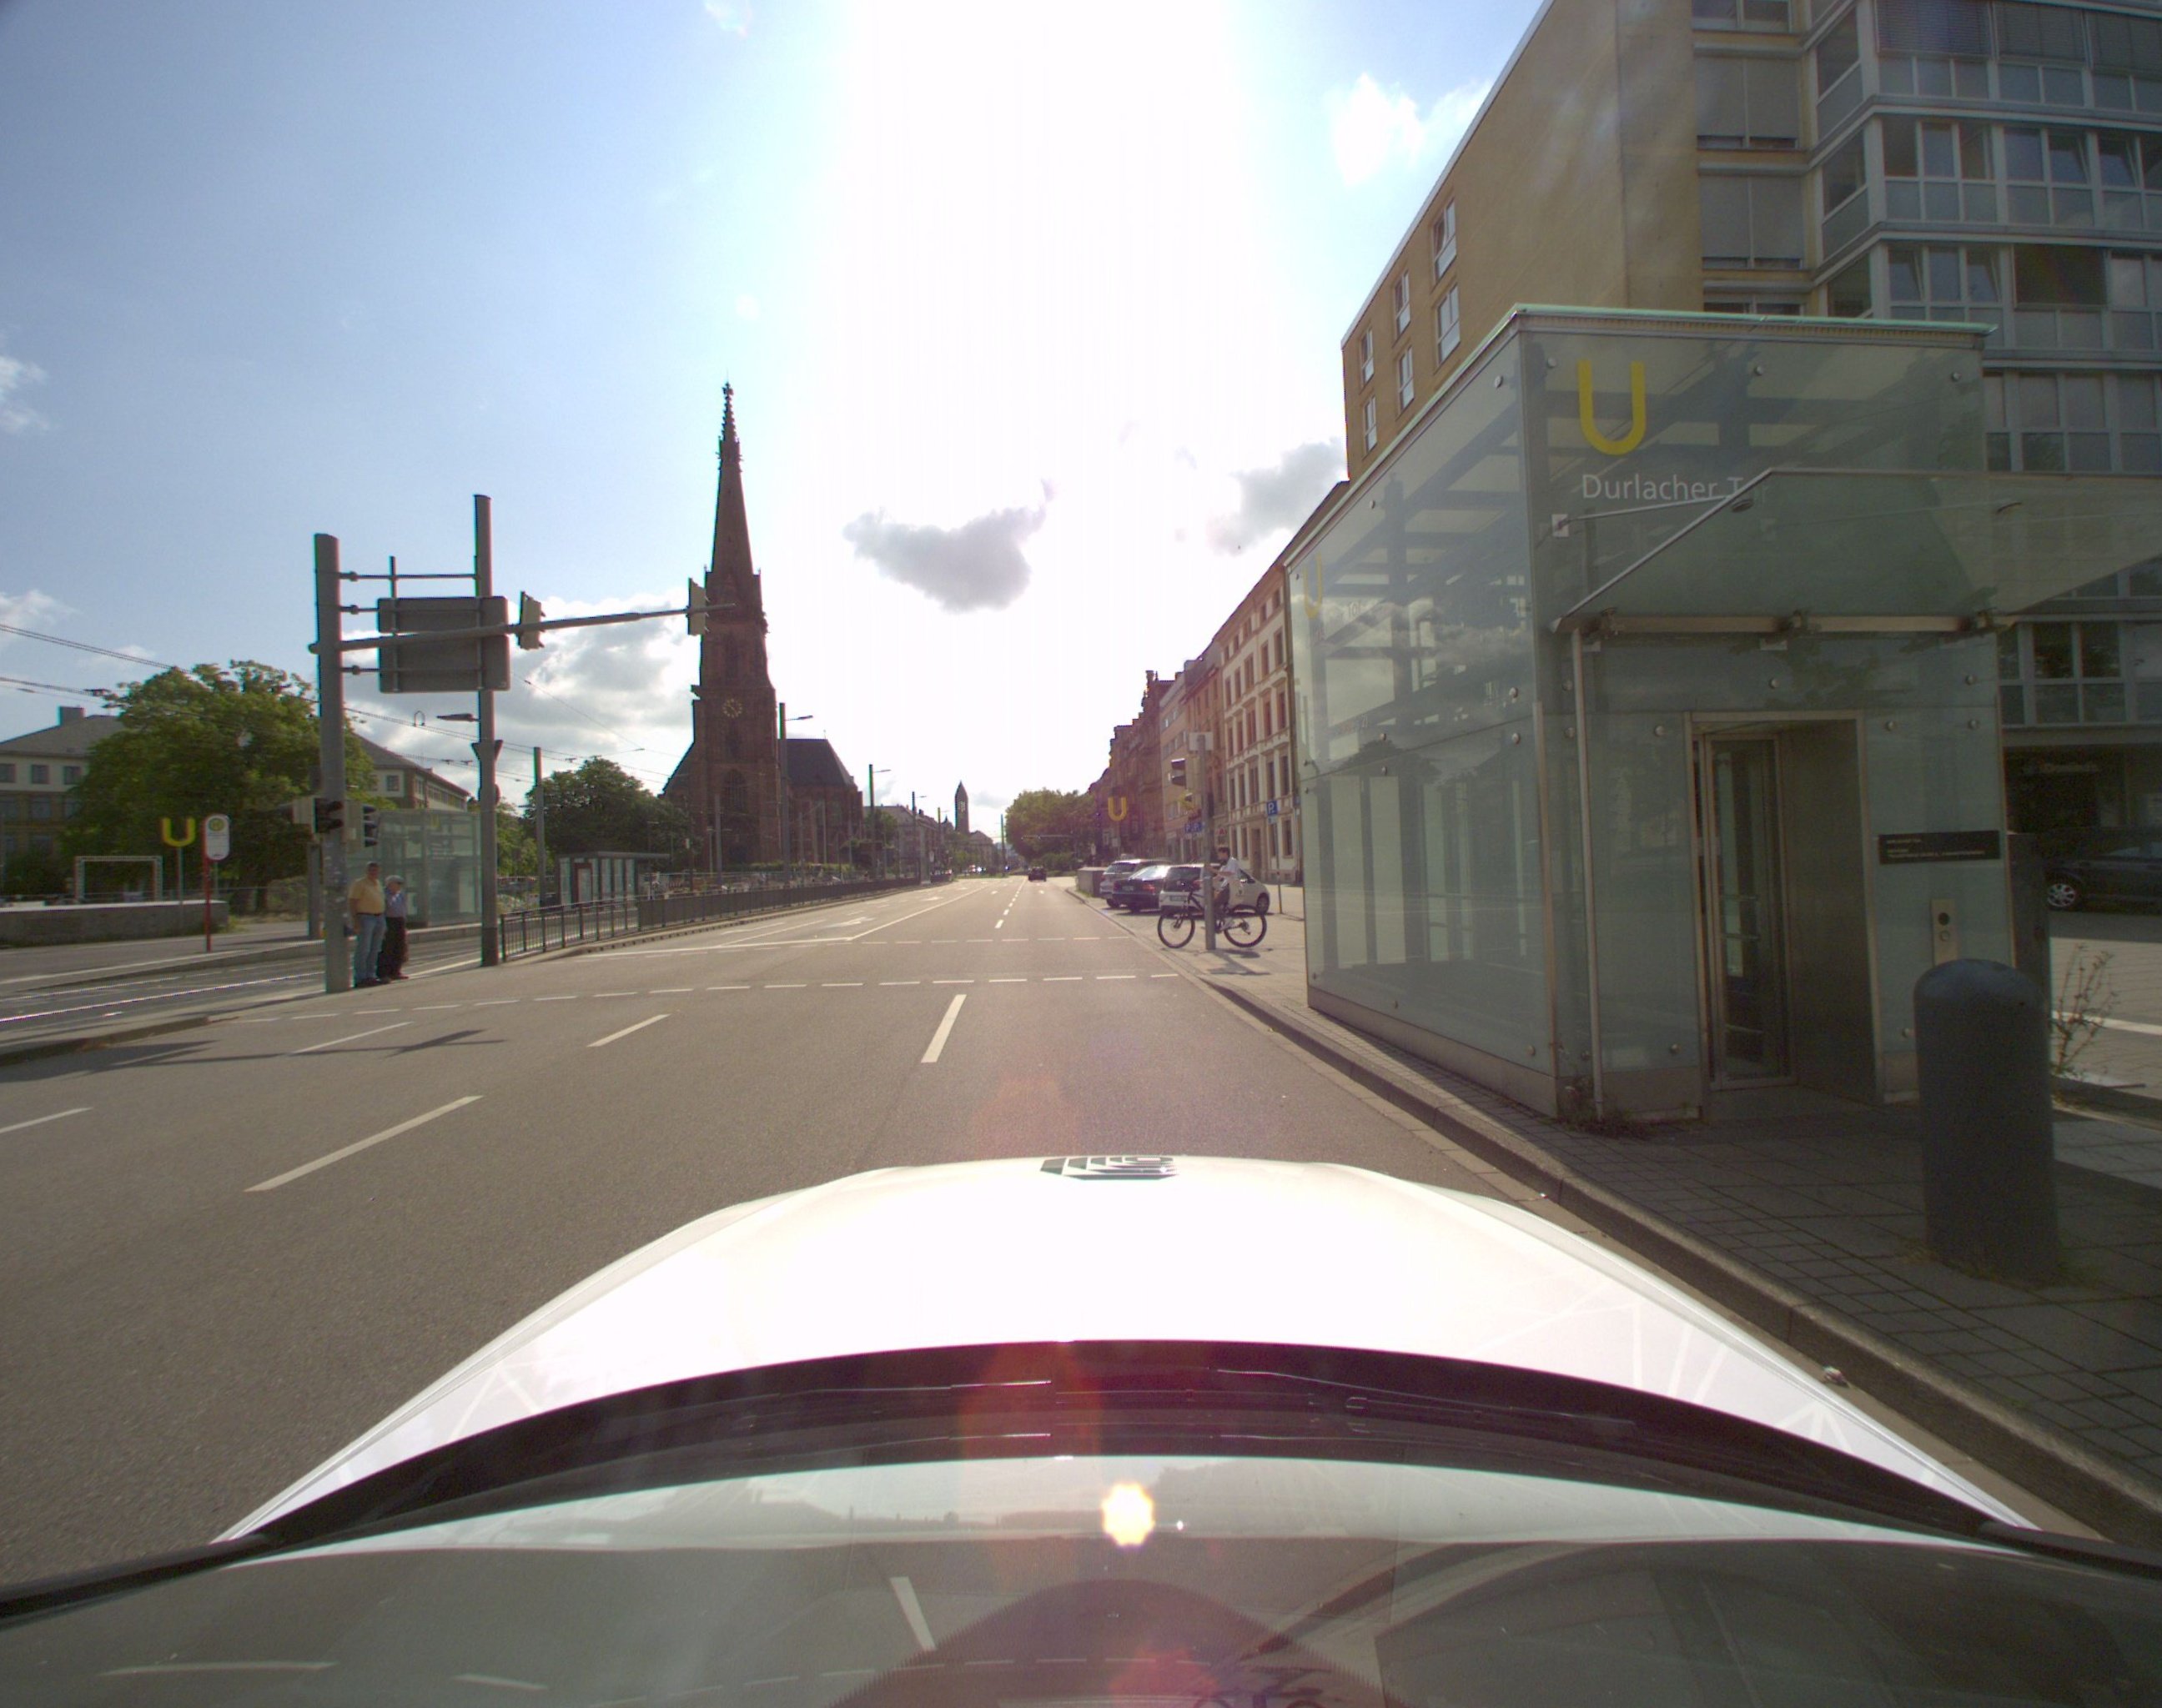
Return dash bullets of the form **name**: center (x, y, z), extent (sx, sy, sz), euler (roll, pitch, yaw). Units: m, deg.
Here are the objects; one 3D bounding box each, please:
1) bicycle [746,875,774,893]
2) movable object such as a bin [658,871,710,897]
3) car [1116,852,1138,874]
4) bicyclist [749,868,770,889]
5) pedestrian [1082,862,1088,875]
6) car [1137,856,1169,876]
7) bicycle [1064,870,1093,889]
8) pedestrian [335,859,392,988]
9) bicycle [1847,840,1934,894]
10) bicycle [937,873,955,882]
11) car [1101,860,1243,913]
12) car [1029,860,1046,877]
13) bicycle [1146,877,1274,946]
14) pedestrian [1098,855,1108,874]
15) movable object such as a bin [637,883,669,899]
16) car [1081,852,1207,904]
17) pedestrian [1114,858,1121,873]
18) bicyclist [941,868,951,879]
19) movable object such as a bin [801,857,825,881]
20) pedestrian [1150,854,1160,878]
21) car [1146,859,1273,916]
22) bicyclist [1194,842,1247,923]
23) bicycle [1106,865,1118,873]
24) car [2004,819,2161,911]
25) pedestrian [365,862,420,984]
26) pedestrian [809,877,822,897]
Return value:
- **bicycle**: center (-27.623, 2.550, 70.128), extent (1.191, 1.427, 3.686), euler (-2, -1, -5)
- **movable object such as a bin**: center (-47.352, 3.547, 97.260), extent (5.140, 2.911, 1.992), euler (-2, -1, -11)
- **car**: center (5.765, 1.138, 102.675), extent (1.989, 2.525, 5.880), euler (-2, -1, -4)
- **bicyclist**: center (-27.618, 2.111, 69.965), extent (1.176, 1.684, 1.681), euler (-2, -1, -6)
- **pedestrian**: center (0.611, 2.323, 131.135), extent (0.766, 2.014, 0.714), euler (-3, -1, -3)
- **car**: center (7.045, 1.204, 80.324), extent (1.993, 1.862, 4.737), euler (-2, -2, -9)
- **bicycle**: center (-0.170, 1.774, 56.706), extent (1.929, 1.237, 0.439), euler (-2, 1, -17)
- **pedestrian**: center (-11.531, 1.092, 13.094), extent (0.426, 2.014, 0.575), euler (-2, -1, -15)
- **bicycle**: center (17.968, 0.285, 18.090), extent (1.338, 1.129, 0.594), euler (-2, 1, -1)
- **bicycle**: center (-17.391, 3.002, 104.891), extent (2.008, 1.126, 0.933), euler (-3, -1, 6)
- **car**: center (2.956, 0.965, 25.788), extent (4.626, 1.460, 1.915), euler (-1, -1, -44)
- **car**: center (-4.859, 1.575, 91.089), extent (1.686, 1.711, 3.602), euler (-2, 1, -5)
- **bicycle**: center (2.217, 0.983, 14.042), extent (2.075, 1.106, 0.547), euler (-2, 1, 23)
- **pedestrian**: center (2.312, 1.089, 85.524), extent (0.665, 1.903, 0.689), euler (-2, -1, -22)
- **movable object such as a bin**: center (-46.665, 3.998, 88.889), extent (1.998, 1.502, 5.125), euler (-2, -1, -16)
- **car**: center (2.358, 0.852, 29.624), extent (2.035, 1.647, 4.624), euler (-3, -1, 44)
- **pedestrian**: center (4.355, 1.395, 97.350), extent (0.663, 1.836, 0.692), euler (-3, -1, -10)
- **bicyclist**: center (-17.379, 2.485, 104.955), extent (1.083, 1.436, 0.826), euler (-3, -1, 6)
- **movable object such as a bin**: center (-37.660, 2.066, 114.486), extent (1.987, 3.105, 4.001), euler (-2, 1, 1)
- **pedestrian**: center (6.516, 1.061, 72.022), extent (0.719, 2.099, 0.785), euler (-2, 1, -3)
- **car**: center (3.695, 0.914, 23.127), extent (3.516, 1.453, 1.757), euler (0, -2, -44)
- **bicyclist**: center (2.391, 0.480, 13.937), extent (0.774, 1.336, 0.397), euler (-2, 1, 25)
- **bicycle**: center (4.809, 2.333, 126.646), extent (1.740, 1.268, 0.466), euler (-2, 1, -1)
- **car**: center (18.594, 0.146, 13.490), extent (1.800, 1.514, 4.089), euler (-2, -1, -5)
- **pedestrian**: center (-11.789, 1.160, 13.951), extent (0.503, 2.014, 0.513), euler (-2, -1, -15)
- **pedestrian**: center (-28.843, 3.579, 88.448), extent (1.062, 2.014, 1.050), euler (-3, -1, 0)
